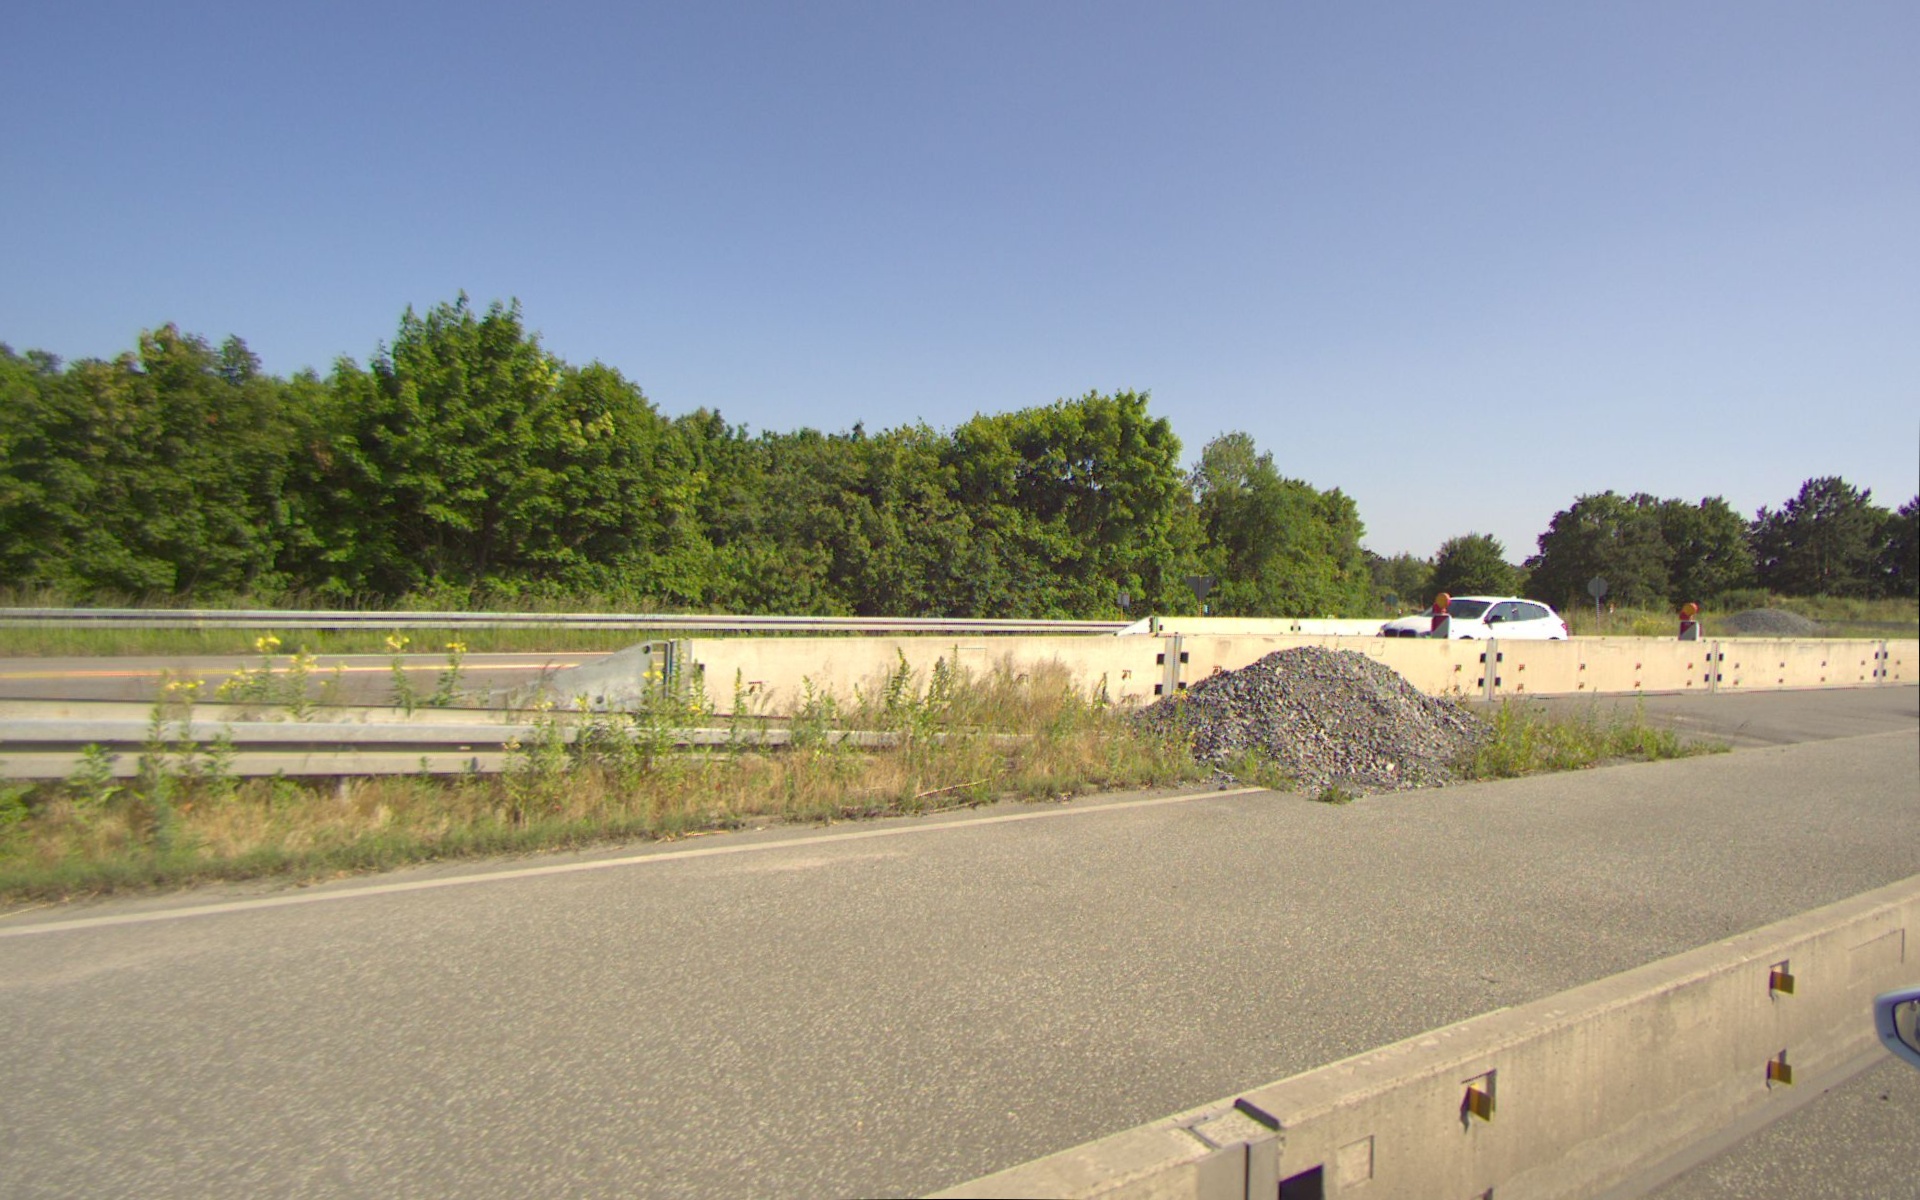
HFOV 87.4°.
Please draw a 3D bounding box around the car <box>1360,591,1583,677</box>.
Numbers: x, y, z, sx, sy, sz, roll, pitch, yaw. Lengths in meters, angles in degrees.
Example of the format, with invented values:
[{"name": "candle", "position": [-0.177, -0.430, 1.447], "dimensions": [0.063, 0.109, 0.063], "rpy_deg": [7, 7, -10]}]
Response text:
[{"name": "car", "position": [10.601, 0.669, 20.797], "dimensions": [4.379, 1.629, 1.811], "rpy_deg": [1, 1, -25]}]
